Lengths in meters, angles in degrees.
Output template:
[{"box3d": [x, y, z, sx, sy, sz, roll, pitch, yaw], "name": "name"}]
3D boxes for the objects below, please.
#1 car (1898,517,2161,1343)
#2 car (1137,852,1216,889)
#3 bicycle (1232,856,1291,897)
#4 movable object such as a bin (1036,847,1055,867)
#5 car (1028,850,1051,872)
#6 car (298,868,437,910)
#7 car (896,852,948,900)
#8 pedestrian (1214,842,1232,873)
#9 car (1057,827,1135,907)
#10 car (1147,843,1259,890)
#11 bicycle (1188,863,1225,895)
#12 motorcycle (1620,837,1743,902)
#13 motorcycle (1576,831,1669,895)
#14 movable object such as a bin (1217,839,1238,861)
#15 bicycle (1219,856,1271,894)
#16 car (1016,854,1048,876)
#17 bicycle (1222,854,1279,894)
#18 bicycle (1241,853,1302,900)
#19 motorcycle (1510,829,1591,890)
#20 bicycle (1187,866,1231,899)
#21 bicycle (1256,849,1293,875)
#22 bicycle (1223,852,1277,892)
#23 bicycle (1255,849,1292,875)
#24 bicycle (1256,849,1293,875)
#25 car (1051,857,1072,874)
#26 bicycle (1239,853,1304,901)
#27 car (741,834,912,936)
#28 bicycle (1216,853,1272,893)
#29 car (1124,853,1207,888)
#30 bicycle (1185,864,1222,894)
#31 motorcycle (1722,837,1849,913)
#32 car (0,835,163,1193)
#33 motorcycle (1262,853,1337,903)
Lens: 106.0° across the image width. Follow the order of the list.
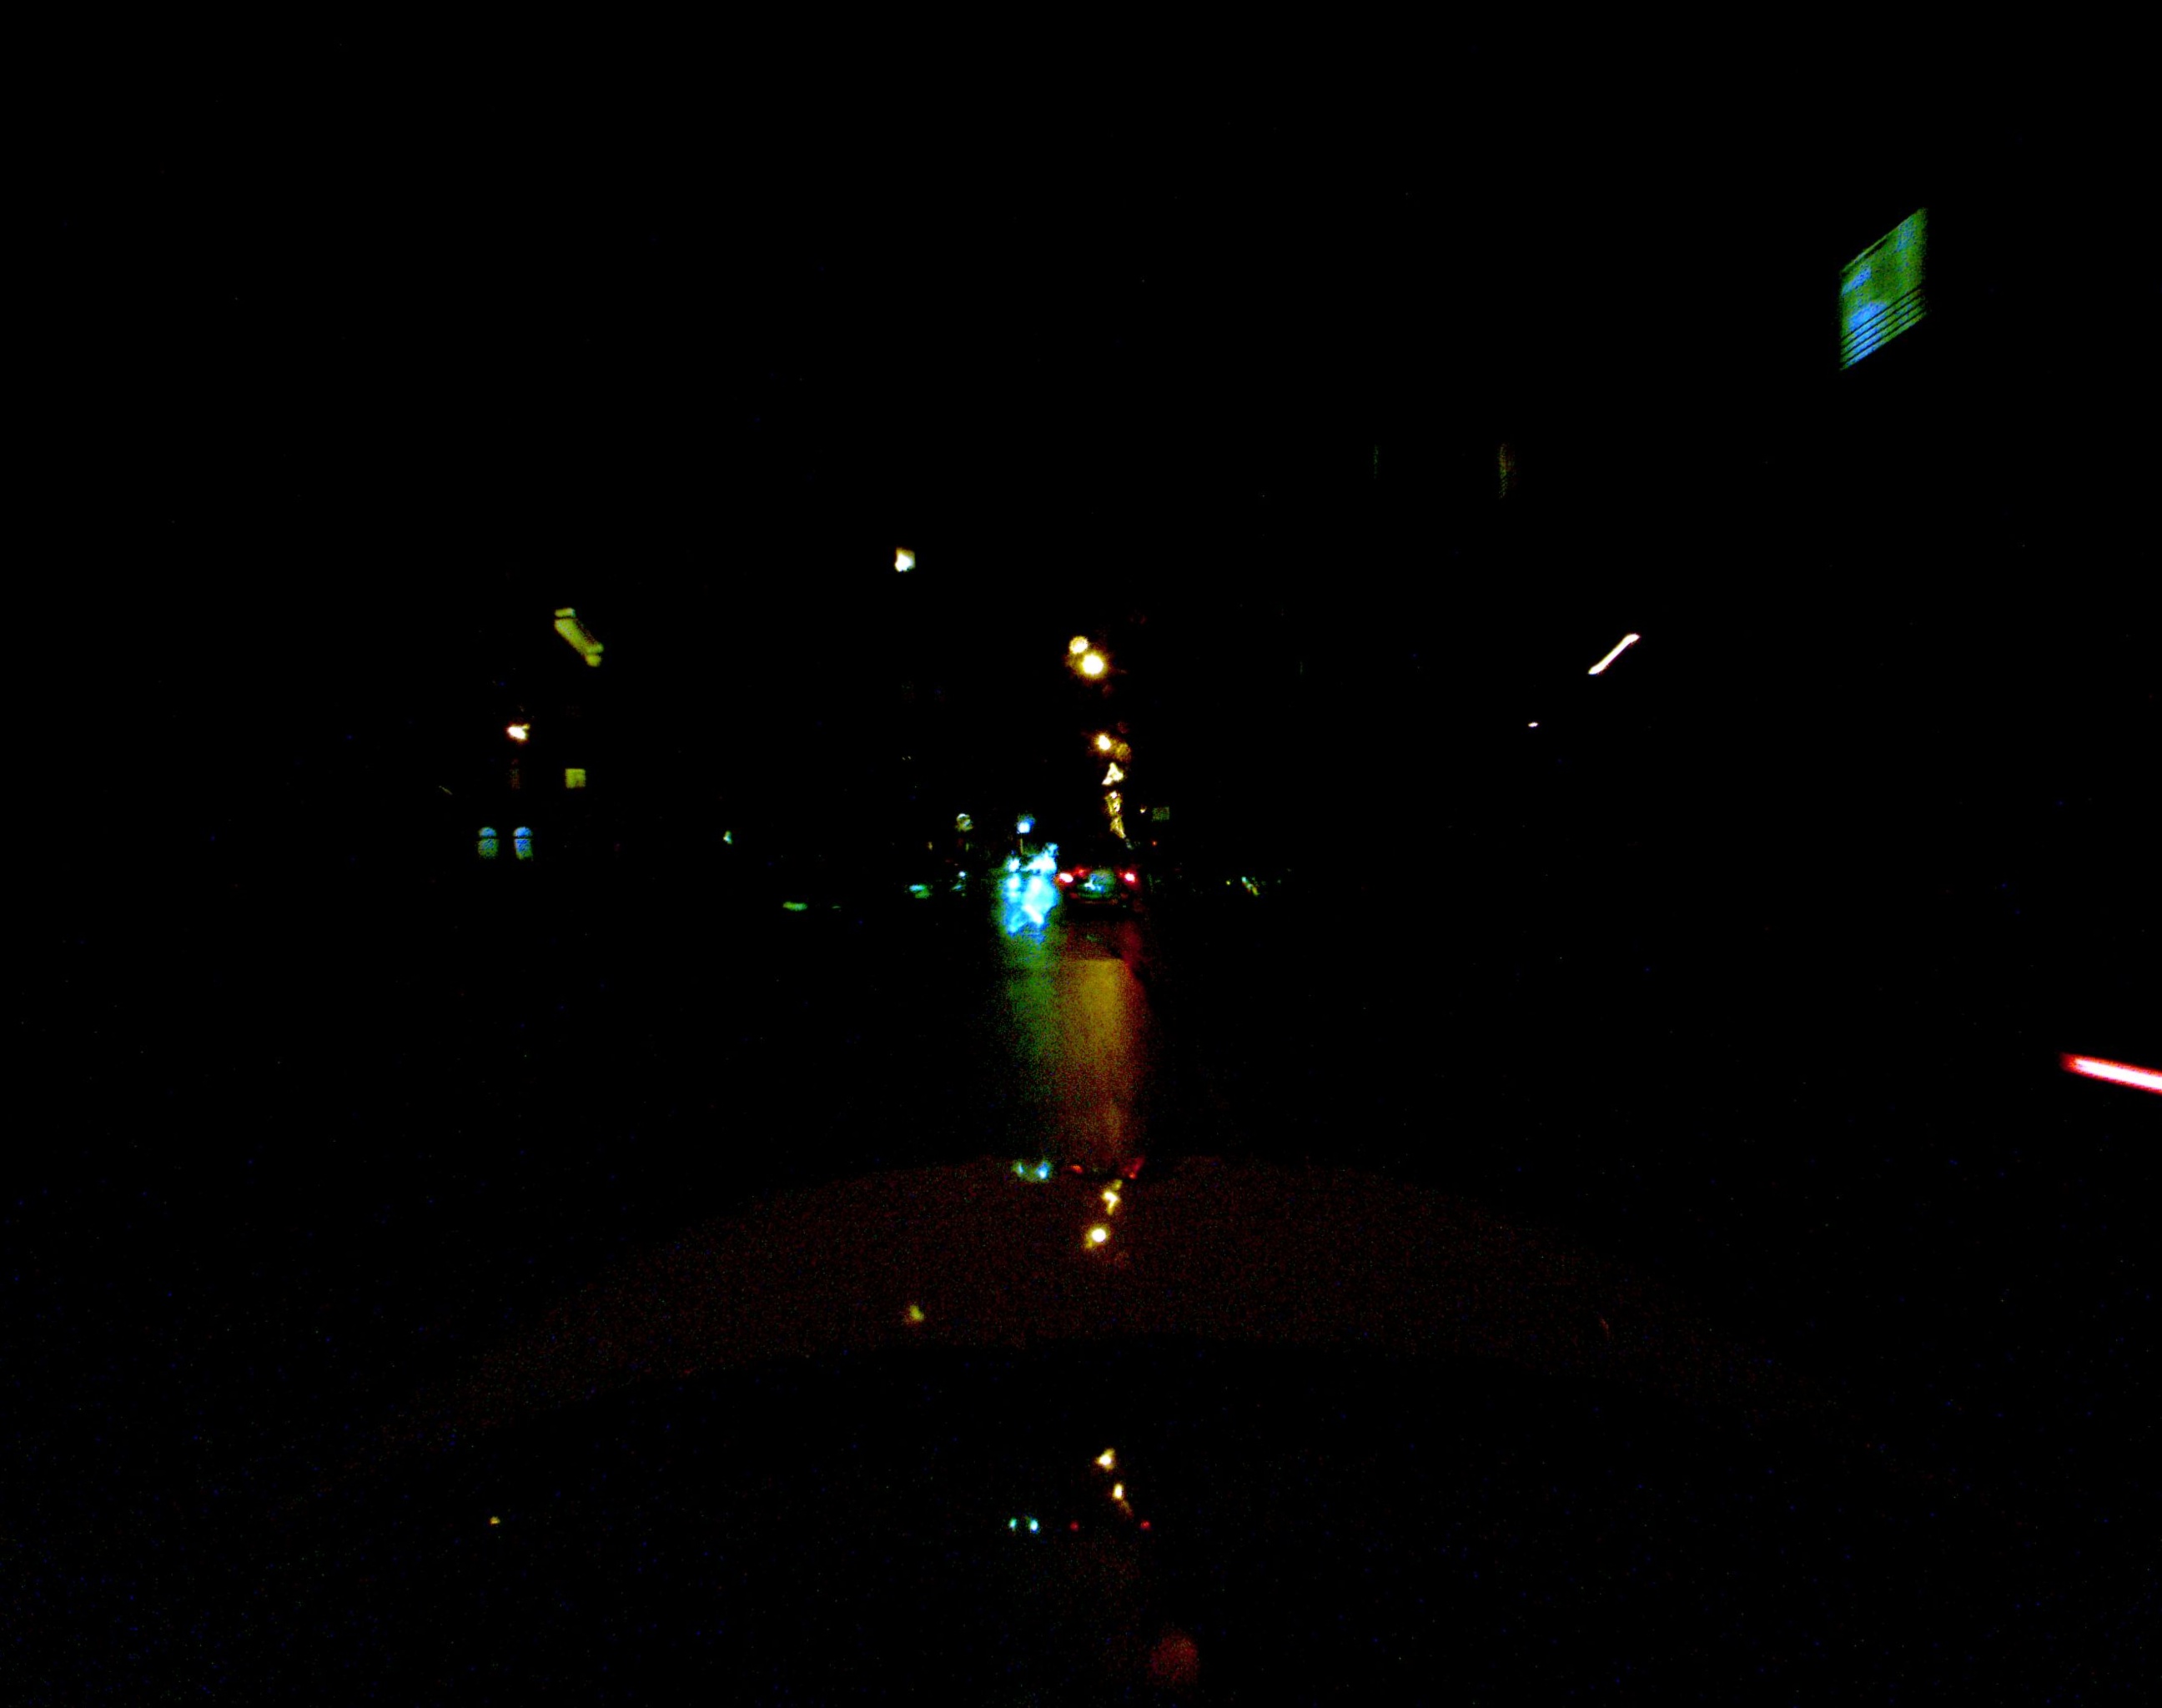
[{"box3d": [5.464, 0.160, 3.124, 4.959, 2.341, 2.209, -1, 0, -32], "name": "car"}, {"box3d": [4.138, 0.691, 35.350, 3.048, 1.552, 1.495, 0, 0, -19], "name": "car"}, {"box3d": [5.271, 0.653, 23.768, 1.591, 1.112, 0.417, -2, 0, -1], "name": "bicycle"}, {"box3d": [-2.653, 0.194, 61.060, 1.203, 1.459, 1.108, 1, 0, 5], "name": "movable object such as a bin"}, {"box3d": [-3.404, 0.561, 67.169, 1.597, 1.706, 3.723, 0, 0, 2], "name": "car"}, {"box3d": [-29.261, 1.421, 33.497, 3.975, 1.608, 1.854, 0, 0, -2], "name": "car"}, {"box3d": [-5.258, 0.679, 26.798, 1.548, 1.443, 3.548, 1, 0, -12], "name": "car"}, {"box3d": [8.971, 0.226, 51.457, 0.836, 1.835, 0.947, -6, -1, -1], "name": "pedestrian"}, {"box3d": [0.481, 0.357, 22.897, 1.985, 2.050, 4.003, 0, -1, 3], "name": "car"}, {"box3d": [4.495, 0.451, 30.065, 3.716, 1.522, 1.644, -3, 0, -23], "name": "car"}, {"box3d": [3.958, 0.794, 25.758, 1.128, 0.974, 0.249, -1, 0, 0], "name": "bicycle"}, {"box3d": [10.520, 0.260, 14.369, 0.522, 1.067, 2.054, 0, 0, -5], "name": "motorcycle"}, {"box3d": [10.937, 0.169, 16.529, 0.521, 1.207, 2.126, 0, 0, 2], "name": "motorcycle"}, {"box3d": [10.494, -0.264, 58.357, 1.204, 1.451, 0.999, -5, -1, 3], "name": "movable object such as a bin"}, {"box3d": [5.292, 0.665, 26.348, 1.585, 1.158, 0.541, -2, 0, 10], "name": "bicycle"}, {"box3d": [-3.137, 0.703, 52.827, 1.647, 1.359, 4.225, 0, 0, 3], "name": "car"}, {"box3d": [5.139, 0.604, 24.708, 1.591, 1.158, 0.417, -2, 0, -1], "name": "bicycle"}, {"box3d": [5.312, 0.632, 22.758, 1.572, 1.234, 0.418, -2, 0, 4], "name": "bicycle"}, {"box3d": [10.795, 0.119, 18.794, 0.522, 1.318, 2.122, 0, 0, -4], "name": "motorcycle"}, {"box3d": [3.697, 0.821, 23.505, 1.207, 0.948, 0.302, -1, 0, -2], "name": "bicycle"}, {"box3d": [9.565, 0.393, 40.310, 1.683, 1.146, 0.428, -4, 0, -6], "name": "bicycle"}, {"box3d": [5.321, 0.564, 25.682, 1.591, 1.158, 0.417, -2, 0, -1], "name": "bicycle"}, {"box3d": [9.646, 0.395, 40.842, 1.683, 1.146, 0.485, -4, 0, -6], "name": "bicycle"}, {"box3d": [9.431, 0.376, 39.739, 1.683, 1.146, 0.428, -4, 0, -6], "name": "bicycle"}, {"box3d": [-1.823, 1.082, 78.458, 1.679, 1.455, 4.318, 0, 0, 2], "name": "car"}, {"box3d": [5.186, 0.624, 22.244, 1.656, 1.234, 0.386, -2, 0, 4], "name": "bicycle"}, {"box3d": [-5.244, 0.575, 17.564, 1.858, 1.846, 4.831, -1, 0, 3], "name": "car"}, {"box3d": [5.030, 0.582, 25.149, 1.591, 1.158, 0.417, -2, 0, -1], "name": "bicycle"}, {"box3d": [3.982, 0.757, 38.643, 3.565, 1.611, 1.702, 0, 0, -19], "name": "car"}, {"box3d": [3.921, 0.807, 26.053, 1.128, 0.948, 0.267, -1, 0, 0], "name": "bicycle"}, {"box3d": [10.595, 0.291, 12.324, 0.521, 1.067, 1.624, 0, 0, 0], "name": "motorcycle"}, {"box3d": [-6.021, 0.766, 2.272, 1.805, 1.670, 4.413, -1, 0, 2], "name": "car"}, {"box3d": [5.402, 0.591, 20.156, 1.630, 1.124, 0.652, -3, 0, -5], "name": "motorcycle"}]
